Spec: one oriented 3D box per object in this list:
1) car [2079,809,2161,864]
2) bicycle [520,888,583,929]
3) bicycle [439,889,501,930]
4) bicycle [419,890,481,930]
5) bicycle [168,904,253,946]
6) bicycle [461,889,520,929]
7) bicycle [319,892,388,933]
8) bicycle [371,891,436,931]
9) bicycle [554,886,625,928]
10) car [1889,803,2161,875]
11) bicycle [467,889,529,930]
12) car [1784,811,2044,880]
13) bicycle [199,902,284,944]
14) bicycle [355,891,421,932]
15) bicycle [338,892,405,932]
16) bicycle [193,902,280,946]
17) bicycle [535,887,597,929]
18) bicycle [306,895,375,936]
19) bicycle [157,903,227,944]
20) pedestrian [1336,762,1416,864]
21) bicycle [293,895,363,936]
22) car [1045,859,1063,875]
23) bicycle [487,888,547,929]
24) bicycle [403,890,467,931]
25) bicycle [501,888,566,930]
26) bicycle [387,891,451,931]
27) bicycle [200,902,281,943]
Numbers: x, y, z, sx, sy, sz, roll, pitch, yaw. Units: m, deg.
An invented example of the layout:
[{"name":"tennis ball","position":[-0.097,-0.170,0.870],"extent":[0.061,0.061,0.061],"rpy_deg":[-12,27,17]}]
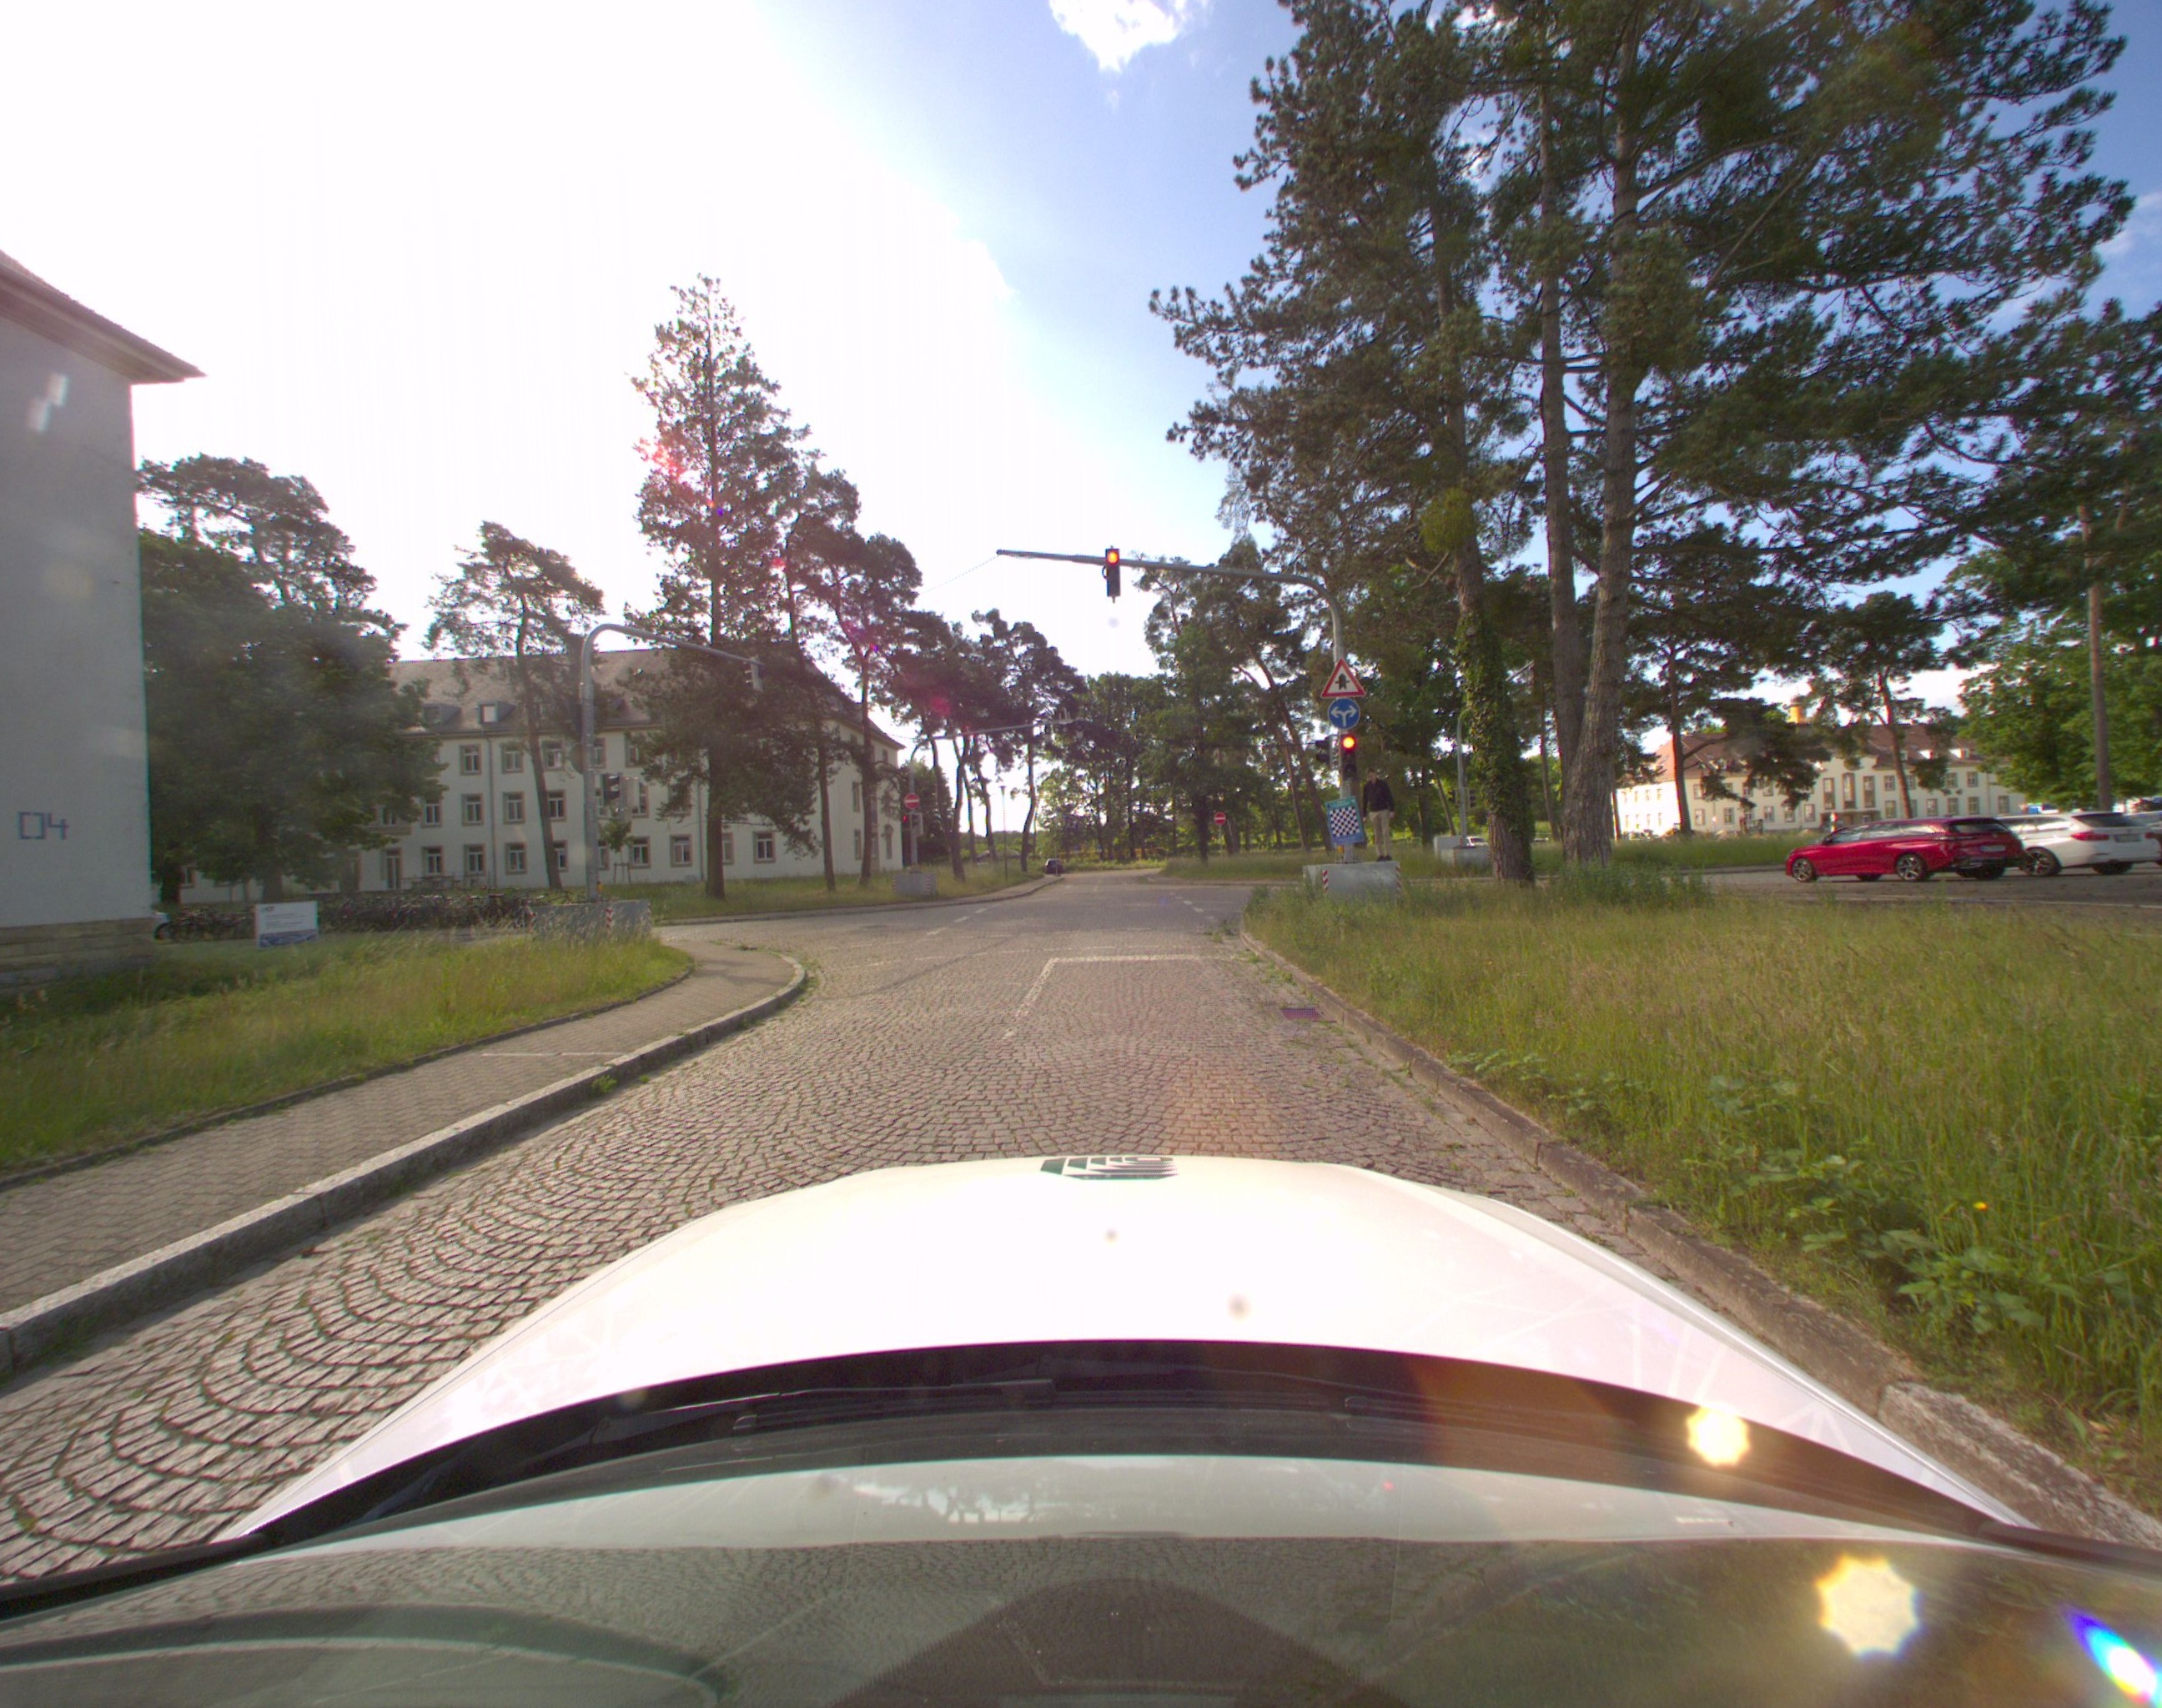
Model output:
[{"name":"car","position":[27.094,-0.459,19.458],"extent":[1.610,1.315,4.048],"rpy_deg":[-4,0,3]},{"name":"bicycle","position":[-17.597,1.792,27.128],"extent":[0.630,1.220,2.125],"rpy_deg":[-3,0,2]},{"name":"bicycle","position":[-20.867,1.879,27.853],"extent":[0.512,1.220,2.016],"rpy_deg":[-3,0,2]},{"name":"bicycle","position":[-21.515,1.895,27.817],"extent":[0.512,1.220,1.977],"rpy_deg":[-3,0,2]},{"name":"bicycle","position":[-28.679,2.313,26.850],"extent":[0.509,1.220,1.841],"rpy_deg":[-3,0,38]},{"name":"bicycle","position":[-20.345,1.865,28.119],"extent":[0.546,1.220,1.900],"rpy_deg":[-3,0,2]},{"name":"bicycle","position":[-24.861,1.976,27.874],"extent":[0.512,1.220,1.938],"rpy_deg":[-3,0,2]},{"name":"bicycle","position":[-23.114,1.930,27.816],"extent":[0.512,1.220,1.938],"rpy_deg":[-3,0,2]},{"name":"bicycle","position":[-15.882,1.700,26.348],"extent":[1.855,1.220,0.635],"rpy_deg":[-3,0,1]},{"name":"car","position":[21.956,-0.266,19.097],"extent":[1.773,1.379,4.240],"rpy_deg":[-3,-2,0]},{"name":"bicycle","position":[-19.786,1.852,27.688],"extent":[0.576,1.220,2.030],"rpy_deg":[-3,0,2]},{"name":"car","position":[19.150,-0.134,19.065],"extent":[1.740,1.399,4.328],"rpy_deg":[-1,-1,2]},{"name":"bicycle","position":[-27.570,2.244,26.775],"extent":[1.836,1.220,0.510],"rpy_deg":[-3,0,-34]},{"name":"bicycle","position":[-23.659,1.944,27.847],"extent":[0.512,1.220,1.938],"rpy_deg":[-3,0,2]},{"name":"bicycle","position":[-24.250,1.960,27.875],"extent":[0.512,1.220,1.938],"rpy_deg":[-3,0,2]},{"name":"bicycle","position":[-27.187,2.240,26.260],"extent":[1.836,1.220,0.510],"rpy_deg":[-3,0,-34]},{"name":"bicycle","position":[-17.114,1.778,27.129],"extent":[0.630,1.220,2.115],"rpy_deg":[-3,0,2]},{"name":"bicycle","position":[-25.320,2.079,27.884],"extent":[0.512,1.220,1.938],"rpy_deg":[-3,0,2]},{"name":"bicycle","position":[-30.007,2.340,27.520],"extent":[0.514,1.220,1.823],"rpy_deg":[-3,0,-9]},{"name":"pedestrian","position":[5.615,-0.750,15.470],"extent":[1.157,1.796,1.069],"rpy_deg":[-4,0,31]},{"name":"bicycle","position":[-25.749,2.090,27.891],"extent":[0.512,1.220,1.938],"rpy_deg":[-3,0,2]},{"name":"car","position":[-2.726,1.292,83.420],"extent":[1.704,1.496,3.918],"rpy_deg":[-3,0,0]},{"name":"bicycle","position":[-19.043,1.830,27.545],"extent":[0.570,1.220,1.990],"rpy_deg":[-3,0,2]},{"name":"bicycle","position":[-22.033,1.905,27.820],"extent":[0.512,1.220,1.977],"rpy_deg":[-3,0,2]},{"name":"bicycle","position":[-18.200,1.807,27.145],"extent":[0.630,1.220,2.105],"rpy_deg":[-3,0,2]},{"name":"bicycle","position":[-22.559,1.916,27.796],"extent":[0.512,1.220,1.955],"rpy_deg":[-3,0,2]},{"name":"bicycle","position":[-28.644,2.316,27.783],"extent":[0.509,1.220,1.841],"rpy_deg":[-3,0,38]}]
